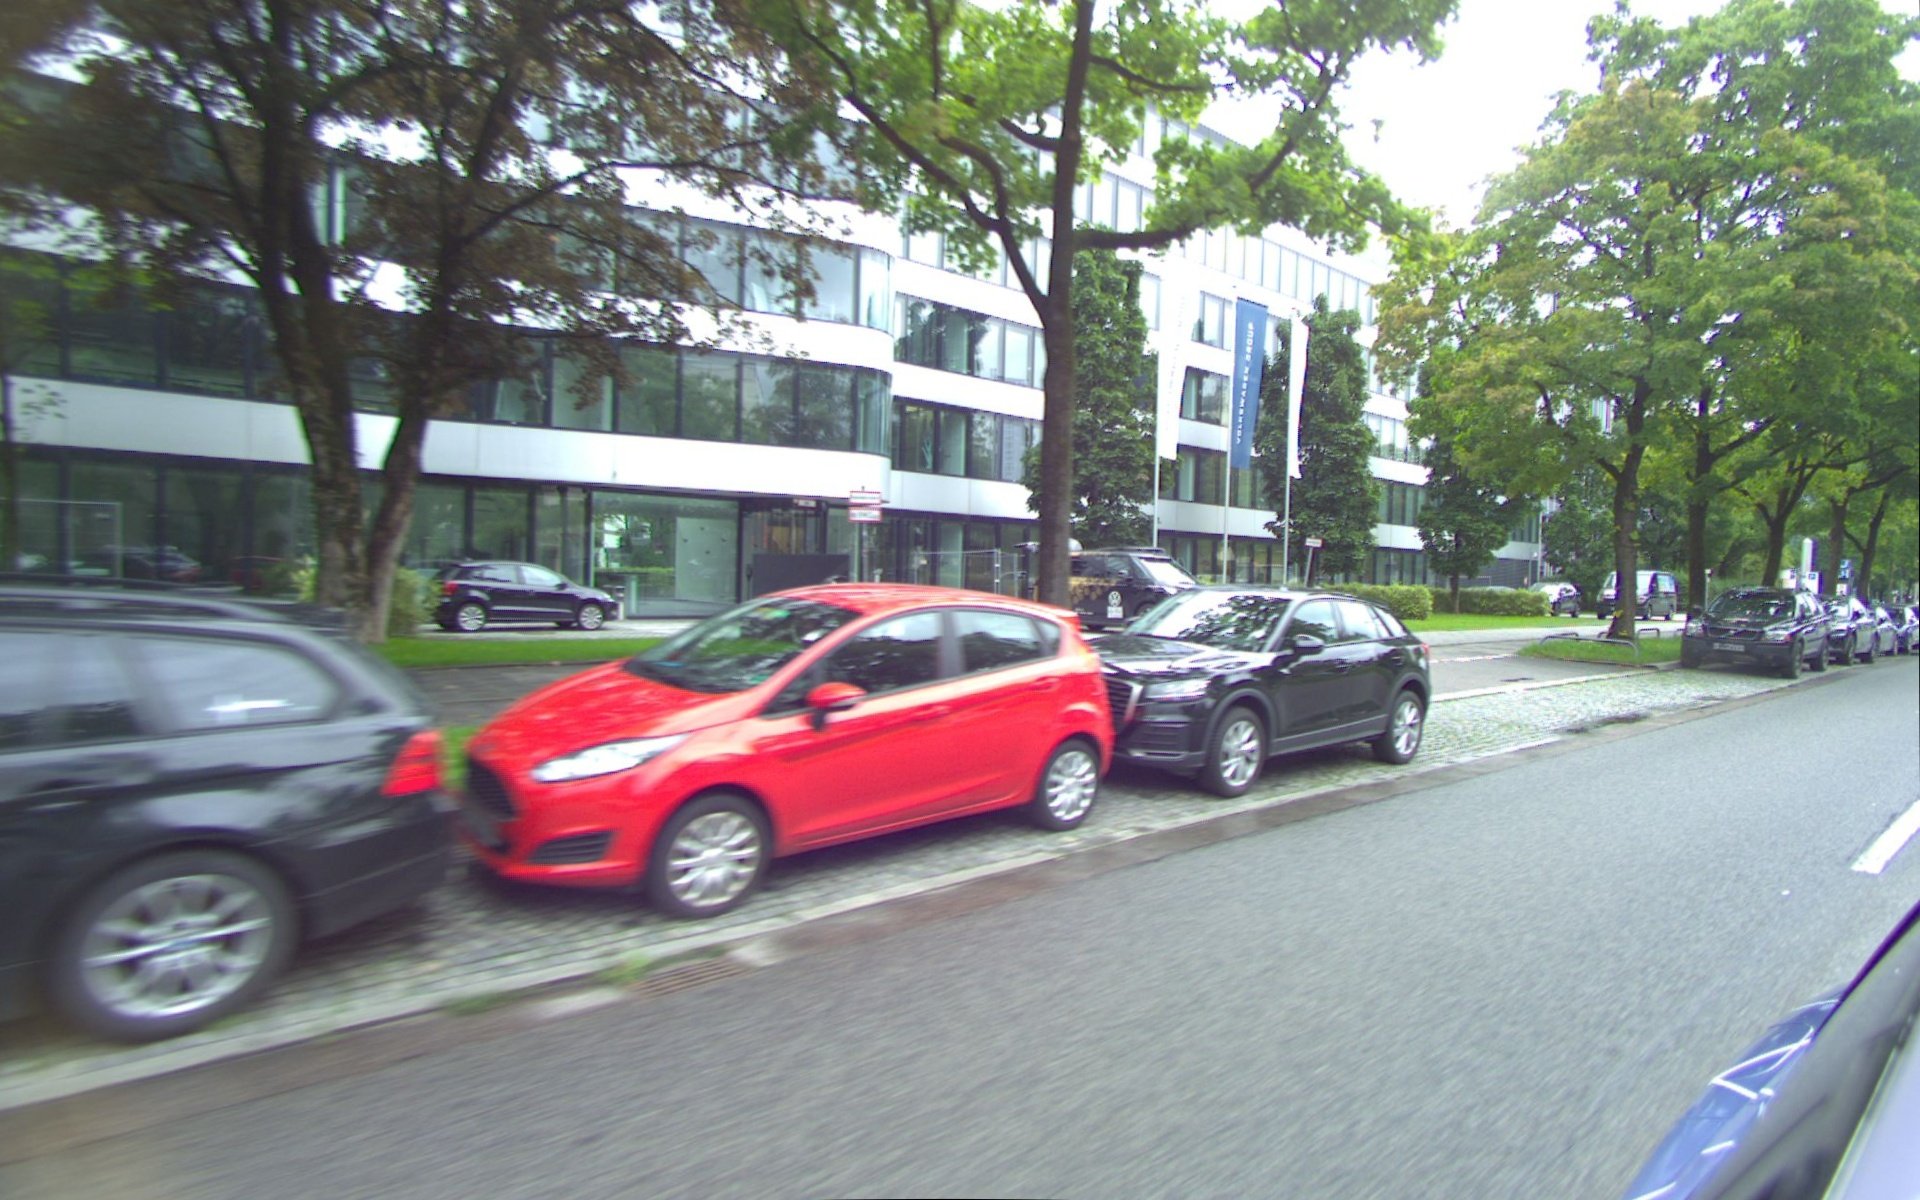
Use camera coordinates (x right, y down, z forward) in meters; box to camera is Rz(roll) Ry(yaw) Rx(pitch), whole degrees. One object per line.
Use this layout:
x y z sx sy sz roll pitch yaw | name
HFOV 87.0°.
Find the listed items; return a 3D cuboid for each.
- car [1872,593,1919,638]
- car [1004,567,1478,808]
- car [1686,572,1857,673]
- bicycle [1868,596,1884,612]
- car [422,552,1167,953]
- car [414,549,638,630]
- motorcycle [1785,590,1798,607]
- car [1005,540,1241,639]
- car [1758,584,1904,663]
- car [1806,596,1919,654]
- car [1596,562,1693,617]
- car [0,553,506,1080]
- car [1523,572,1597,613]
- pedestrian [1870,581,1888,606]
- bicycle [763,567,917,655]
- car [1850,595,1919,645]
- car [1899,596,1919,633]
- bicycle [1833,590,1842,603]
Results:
34.000 0.540 36.059 3.908 1.464 1.705 0 3 -40 | car
2.573 0.567 8.764 4.207 1.529 1.785 0 4 -39 | car
16.946 0.391 21.043 4.776 1.822 1.897 0 3 -41 | car
74.178 0.316 81.946 1.826 1.241 0.532 3 3 -37 | bicycle
-0.732 0.570 5.884 3.951 1.519 1.679 0 4 -41 | car
-9.220 -0.247 21.648 3.978 1.567 2.022 0 2 -42 | car
64.781 -0.117 78.873 0.546 1.335 2.049 2 2 34 | motorcycle
3.745 -0.331 24.268 2.109 2.109 5.481 0 2 -41 | car
21.386 0.512 24.787 4.712 1.696 1.818 0 2 -39 | car
25.442 0.649 28.385 4.430 1.425 1.707 0 2 -38 | car
31.503 -0.482 46.476 6.161 2.335 2.268 0 3 -43 | car
-3.969 0.605 2.979 4.502 1.471 1.679 0 4 -41 | car
28.908 -0.383 48.702 4.396 1.840 1.845 0 3 -43 | car
72.868 -0.528 80.254 0.733 1.923 0.655 2 1 -14 | pedestrian
-1.742 0.144 14.935 2.207 1.197 0.750 0 2 -41 | bicycle
30.223 0.600 32.615 4.048 1.438 1.705 0 3 -40 | car
38.338 0.578 39.697 4.158 1.414 1.705 0 3 -40 | car
79.365 -0.332 91.538 1.922 1.203 0.446 0 2 -44 | bicycle
